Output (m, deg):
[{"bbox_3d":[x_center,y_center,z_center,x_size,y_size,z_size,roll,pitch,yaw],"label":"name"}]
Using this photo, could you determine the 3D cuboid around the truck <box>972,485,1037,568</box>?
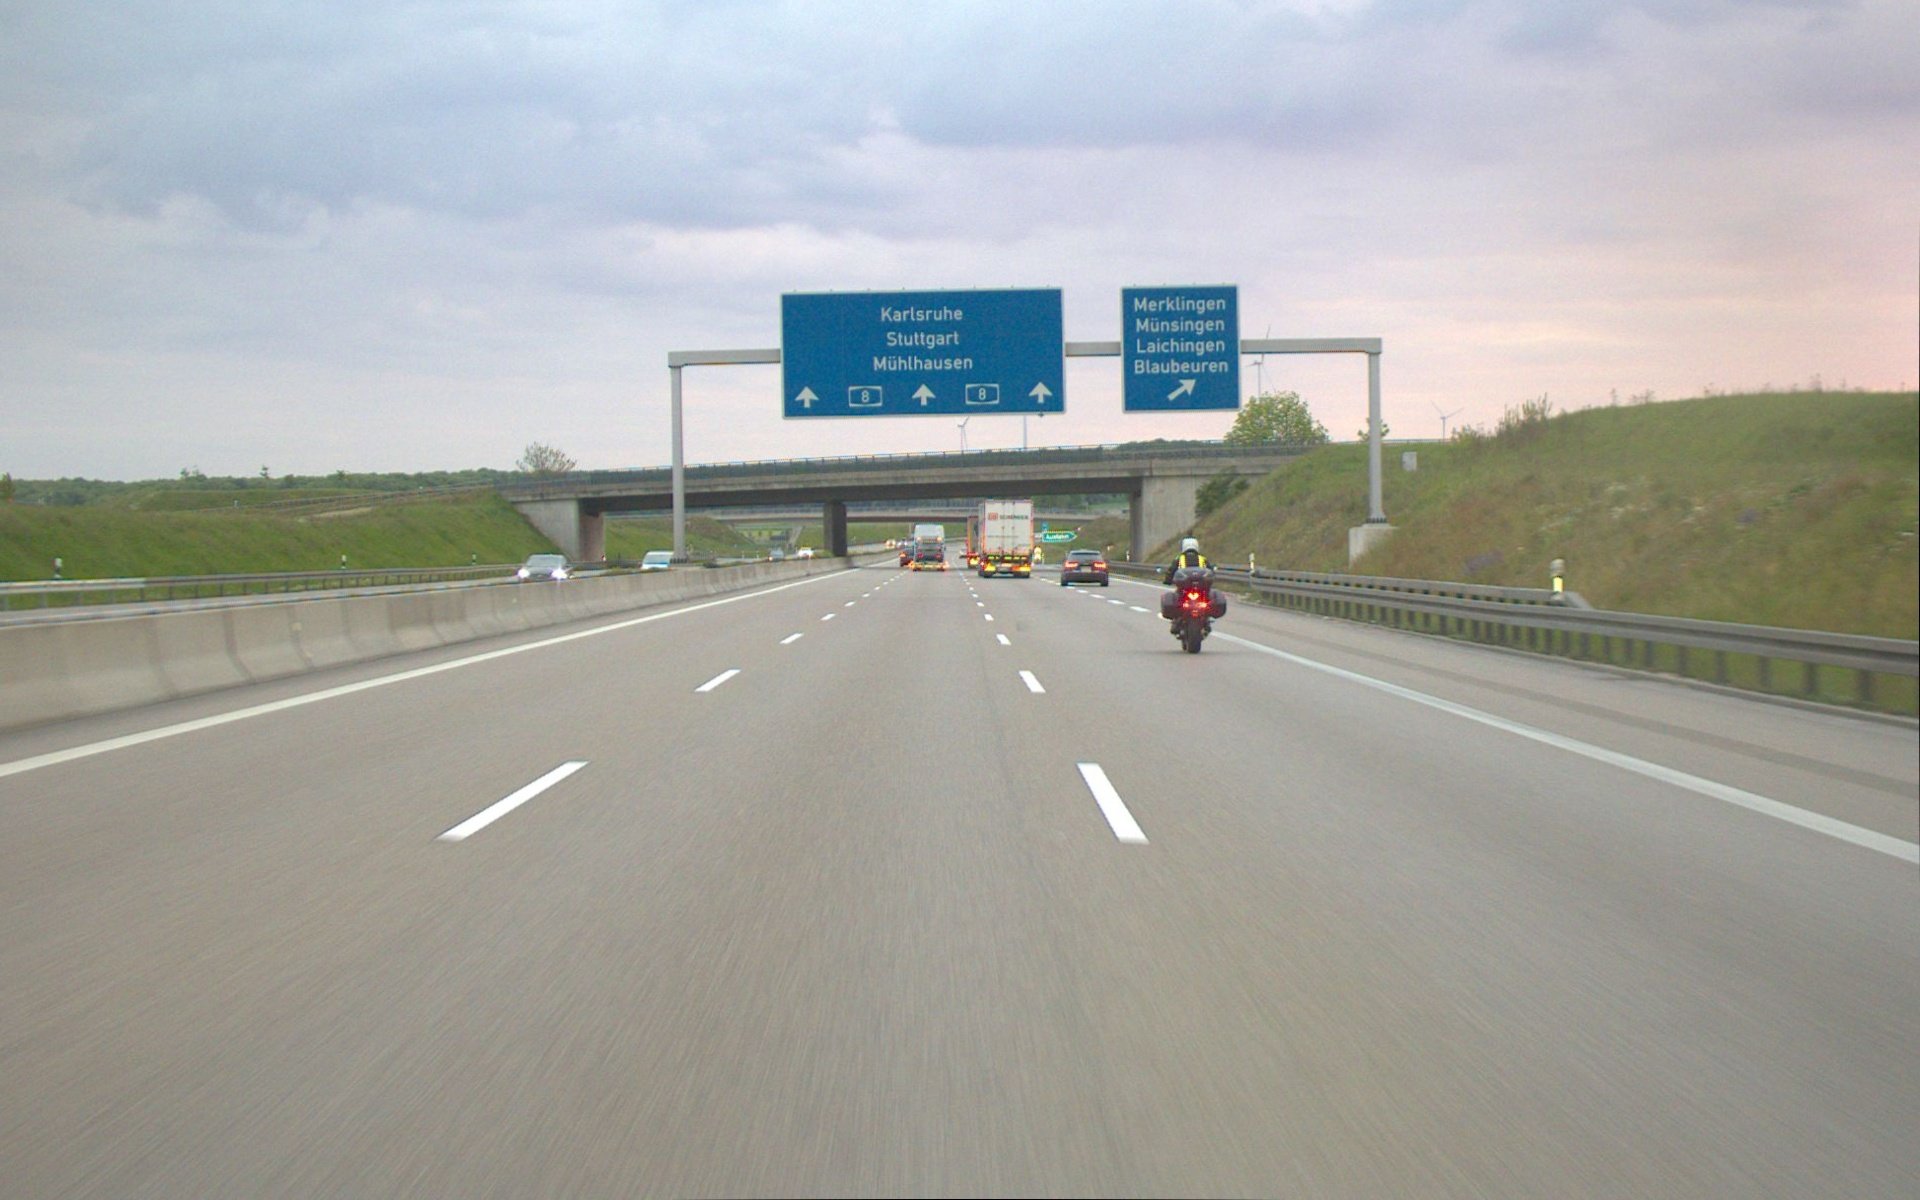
[{"bbox_3d":[2.277,-3.881,179.947,3.234,4.213,9.599,1,2,0],"label":"truck"}]

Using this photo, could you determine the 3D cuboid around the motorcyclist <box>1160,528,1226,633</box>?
[{"bbox_3d":[3.372,-0.286,49.815,0.866,1.482,1.168,1,1,1],"label":"motorcyclist"}]

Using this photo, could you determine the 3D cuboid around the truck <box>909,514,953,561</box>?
[{"bbox_3d":[-2.067,-4.409,241.970,2.951,3.206,8.406,1,2,-1],"label":"truck"}]

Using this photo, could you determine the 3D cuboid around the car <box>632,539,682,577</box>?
[{"bbox_3d":[-13.009,-1.817,147.771,1.749,1.592,4.643,1,1,0],"label":"car"}]

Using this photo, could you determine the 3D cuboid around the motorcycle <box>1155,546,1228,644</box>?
[{"bbox_3d":[3.358,-0.088,50.049,0.902,1.342,2.349,0,2,0],"label":"motorcycle"}]

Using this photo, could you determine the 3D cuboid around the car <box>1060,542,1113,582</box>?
[{"bbox_3d":[5.093,-1.550,138.990,1.918,1.574,4.000,0,1,-1],"label":"car"}]

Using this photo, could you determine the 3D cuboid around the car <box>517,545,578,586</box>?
[{"bbox_3d":[-16.547,-1.409,138.045,2.002,1.582,4.573,0,1,-2],"label":"car"}]

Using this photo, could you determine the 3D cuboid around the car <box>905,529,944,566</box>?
[{"bbox_3d":[-2.341,-3.473,225.906,2.516,2.383,6.497,0,1,-1],"label":"car"}]
